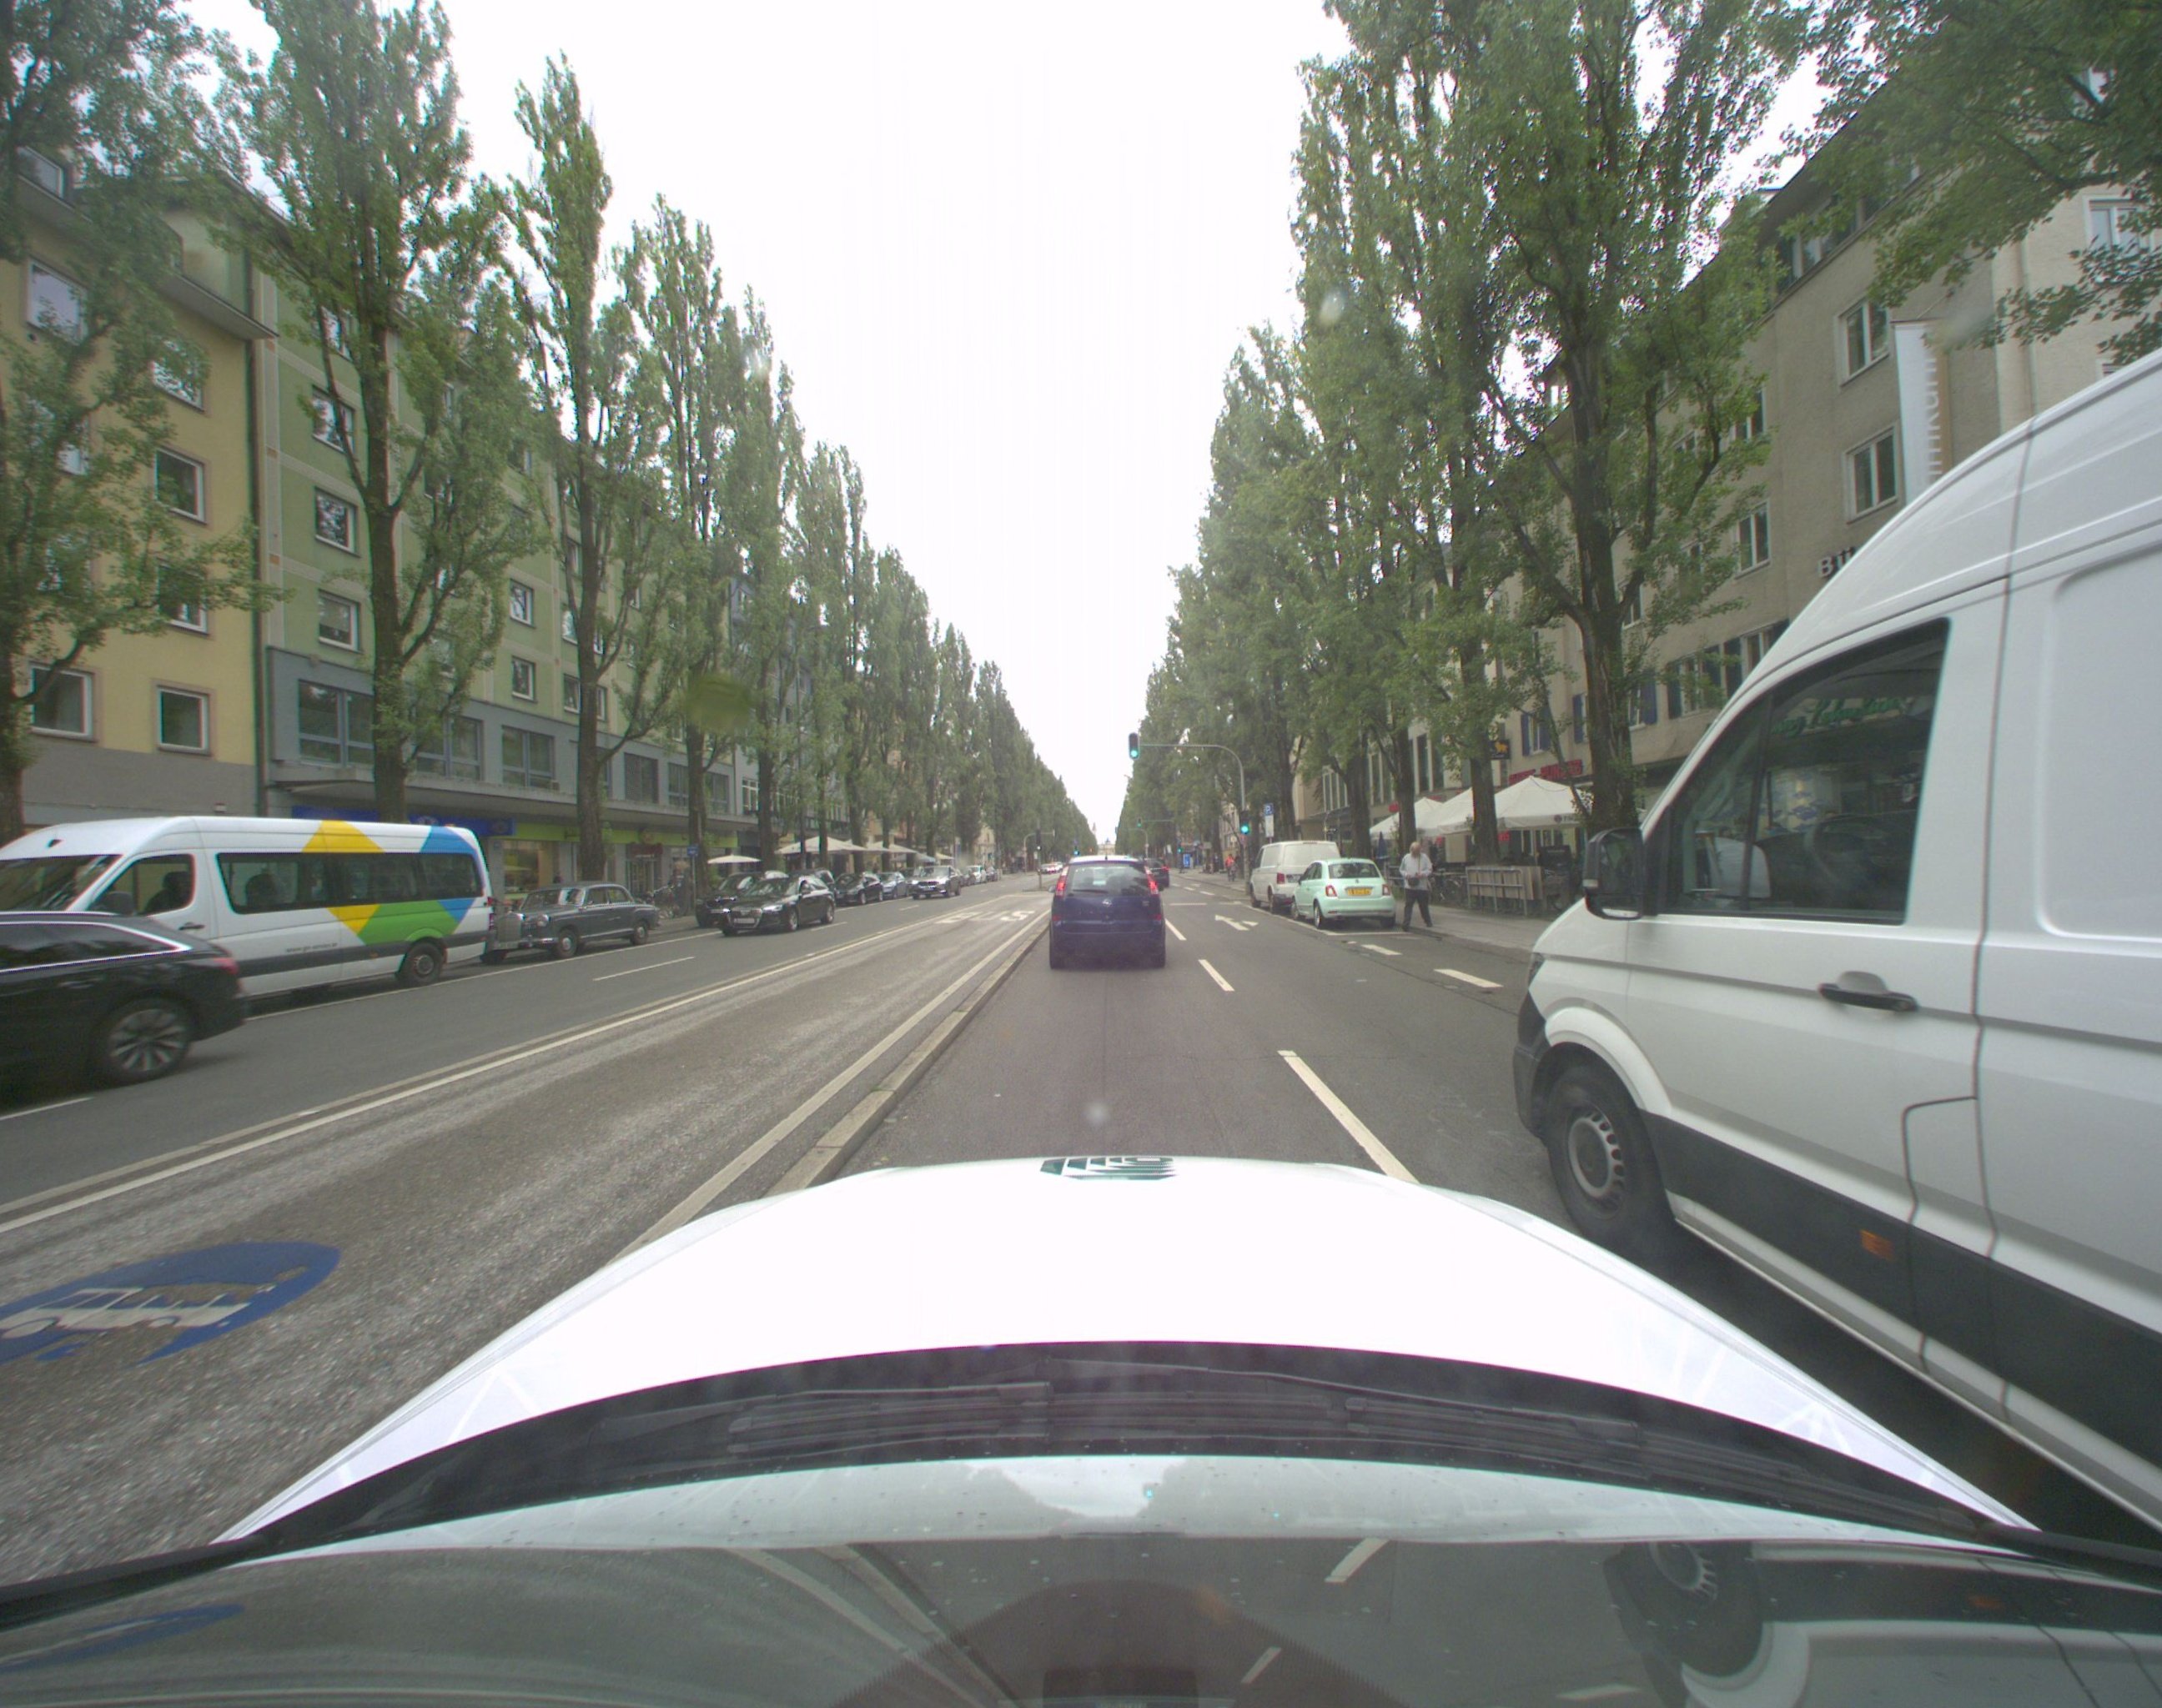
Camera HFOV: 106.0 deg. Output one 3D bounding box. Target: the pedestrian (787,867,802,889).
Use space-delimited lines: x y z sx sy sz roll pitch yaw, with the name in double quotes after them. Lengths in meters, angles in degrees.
-18.709 1.553 53.177 0.763 1.410 0.799 0 -1 -3 "pedestrian"

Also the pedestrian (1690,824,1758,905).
13.402 0.217 16.999 0.614 1.605 0.870 -4 -1 -1 "pedestrian"

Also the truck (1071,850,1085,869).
-0.508 1.095 153.682 2.374 3.347 7.113 -2 -1 2 "truck"

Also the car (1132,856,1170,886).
3.908 0.935 45.970 1.889 1.622 4.002 -1 0 2 "car"

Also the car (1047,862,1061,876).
-4.286 2.376 129.865 1.986 2.014 4.001 -2 -1 1 "car"

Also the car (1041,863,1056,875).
-4.802 2.262 120.201 1.859 1.666 4.122 -2 -1 2 "car"

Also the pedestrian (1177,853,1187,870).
10.596 0.816 85.703 0.880 1.766 0.769 -2 -1 -1 "pedestrian"

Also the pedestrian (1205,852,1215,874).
11.193 0.777 70.685 0.636 1.827 0.885 0 -1 -8 "pedestrian"

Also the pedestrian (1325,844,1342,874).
14.759 0.313 47.602 0.671 1.686 0.758 -3 -2 -3 "pedestrian"

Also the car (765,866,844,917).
-10.669 1.400 31.726 1.704 1.721 3.920 -4 -1 -1 "car"

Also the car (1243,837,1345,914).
5.992 0.582 23.498 1.781 1.946 4.732 -2 0 2 "car"

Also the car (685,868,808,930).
-10.686 1.385 26.407 1.859 1.664 4.612 -4 0 2 "car"

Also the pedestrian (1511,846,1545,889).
14.334 0.421 26.123 0.636 1.324 0.800 -2 -1 1 "pedestrian"

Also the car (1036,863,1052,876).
-5.141 2.131 113.190 1.859 1.666 4.122 -2 -1 2 "car"

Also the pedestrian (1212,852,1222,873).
11.878 0.722 71.060 0.636 1.827 0.885 0 -1 -8 "pedestrian"

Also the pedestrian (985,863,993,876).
-12.550 2.101 110.723 0.770 1.766 0.878 -2 -1 -23 "pedestrian"

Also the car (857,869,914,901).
-10.135 1.603 42.521 1.727 1.425 4.145 -4 0 2 "car"

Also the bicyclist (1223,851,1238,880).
9.343 0.720 50.897 0.764 1.766 0.885 -2 -1 1 "bicyclist"

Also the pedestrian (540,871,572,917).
-20.266 1.533 31.418 0.670 1.686 0.759 -3 -2 3 "pedestrian"

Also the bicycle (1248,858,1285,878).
12.134 0.897 53.359 2.220 1.204 0.626 -3 -1 -1 "bicycle"

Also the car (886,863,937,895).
-9.972 1.462 48.239 1.859 1.665 4.402 -4 0 2 "car"

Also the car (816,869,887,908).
-10.405 1.526 37.241 1.792 1.489 4.352 -4 0 2 "car"

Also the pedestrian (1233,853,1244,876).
12.766 0.876 66.036 0.636 1.827 0.885 0 -1 -8 "pedestrian"

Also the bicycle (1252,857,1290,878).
12.068 0.873 51.753 2.220 1.204 0.626 -3 -1 -1 "bicycle"

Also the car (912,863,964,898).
-7.262 1.308 41.766 1.764 1.635 4.456 -3 0 1 "car"

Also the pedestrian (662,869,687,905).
-19.380 1.562 38.817 0.753 1.686 0.675 -3 -2 3 "pedestrian"

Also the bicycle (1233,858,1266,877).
11.920 0.953 57.658 2.220 1.204 0.626 -3 -1 -1 "bicycle"

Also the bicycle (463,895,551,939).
-15.300 1.676 21.713 1.860 1.095 0.720 0 -1 4 "bicycle"

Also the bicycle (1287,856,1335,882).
11.682 0.770 41.413 2.220 1.204 0.626 -3 -1 -1 "bicycle"

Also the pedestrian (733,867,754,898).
-18.713 1.568 45.167 0.753 1.686 0.675 -3 -2 3 "pedestrian"

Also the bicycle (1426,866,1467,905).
9.823 0.829 21.911 0.348 0.996 1.453 -3 -1 -2 "bicycle"

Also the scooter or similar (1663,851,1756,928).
10.528 0.582 13.703 0.326 1.216 1.443 -3 -1 -2 "scooter or similar"

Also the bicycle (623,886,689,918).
-15.228 1.726 29.234 1.943 1.095 0.718 0 -1 -5 "bicycle"

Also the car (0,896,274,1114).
-8.596 1.171 5.361 1.691 1.462 4.714 -4 0 2 "car"

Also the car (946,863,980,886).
-9.358 1.623 64.996 1.859 1.665 4.122 -4 -1 2 "car"

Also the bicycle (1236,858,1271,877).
11.899 0.936 56.279 2.220 1.204 0.626 -3 -1 -1 "bicycle"

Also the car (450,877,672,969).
-11.178 1.399 17.975 1.859 1.552 4.416 -4 0 2 "car"

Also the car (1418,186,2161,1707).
2.687 0.203 0.868 2.055 2.492 6.733 -1 0 2 "car"

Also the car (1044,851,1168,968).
0.421 0.778 13.151 1.665 1.568 4.002 -1 0 2 "car"

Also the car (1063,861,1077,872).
-1.596 1.814 119.256 1.728 1.465 3.366 -2 -1 2 "car"

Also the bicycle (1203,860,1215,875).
11.812 1.201 75.080 0.769 1.349 2.450 -2 -1 1 "bicycle"

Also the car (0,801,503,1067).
-11.340 0.846 10.882 1.998 2.568 6.914 -4 0 2 "car"

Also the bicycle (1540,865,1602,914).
10.505 0.742 17.503 0.348 0.996 1.453 -3 -1 -2 "bicycle"

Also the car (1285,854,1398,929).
5.785 0.784 18.451 1.535 1.492 3.525 -1 -1 3 "car"

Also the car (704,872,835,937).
-8.236 1.278 21.938 1.739 1.434 4.131 -4 0 2 "car"

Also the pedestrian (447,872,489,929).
-18.957 1.424 25.190 0.753 1.686 0.675 -3 -2 3 "pedestrian"

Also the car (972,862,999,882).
-9.014 1.683 77.533 1.859 1.665 4.122 -4 -1 2 "car"

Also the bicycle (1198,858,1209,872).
12.008 1.065 80.018 0.769 1.349 2.450 -2 -1 1 "bicycle"

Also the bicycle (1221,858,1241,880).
9.352 0.917 50.865 0.769 1.349 2.450 -2 -1 1 "bicycle"

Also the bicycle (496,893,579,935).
-15.291 1.681 22.931 1.860 1.095 0.720 0 -1 4 "bicycle"

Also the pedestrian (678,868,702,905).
-18.596 1.542 38.745 0.753 1.686 0.675 -3 -2 3 "pedestrian"

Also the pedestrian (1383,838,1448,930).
6.698 0.579 16.298 0.875 1.773 0.820 -1 -1 -38 "pedestrian"

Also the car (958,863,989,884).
-9.254 1.658 70.258 1.859 1.665 4.122 -4 -1 2 "car"
